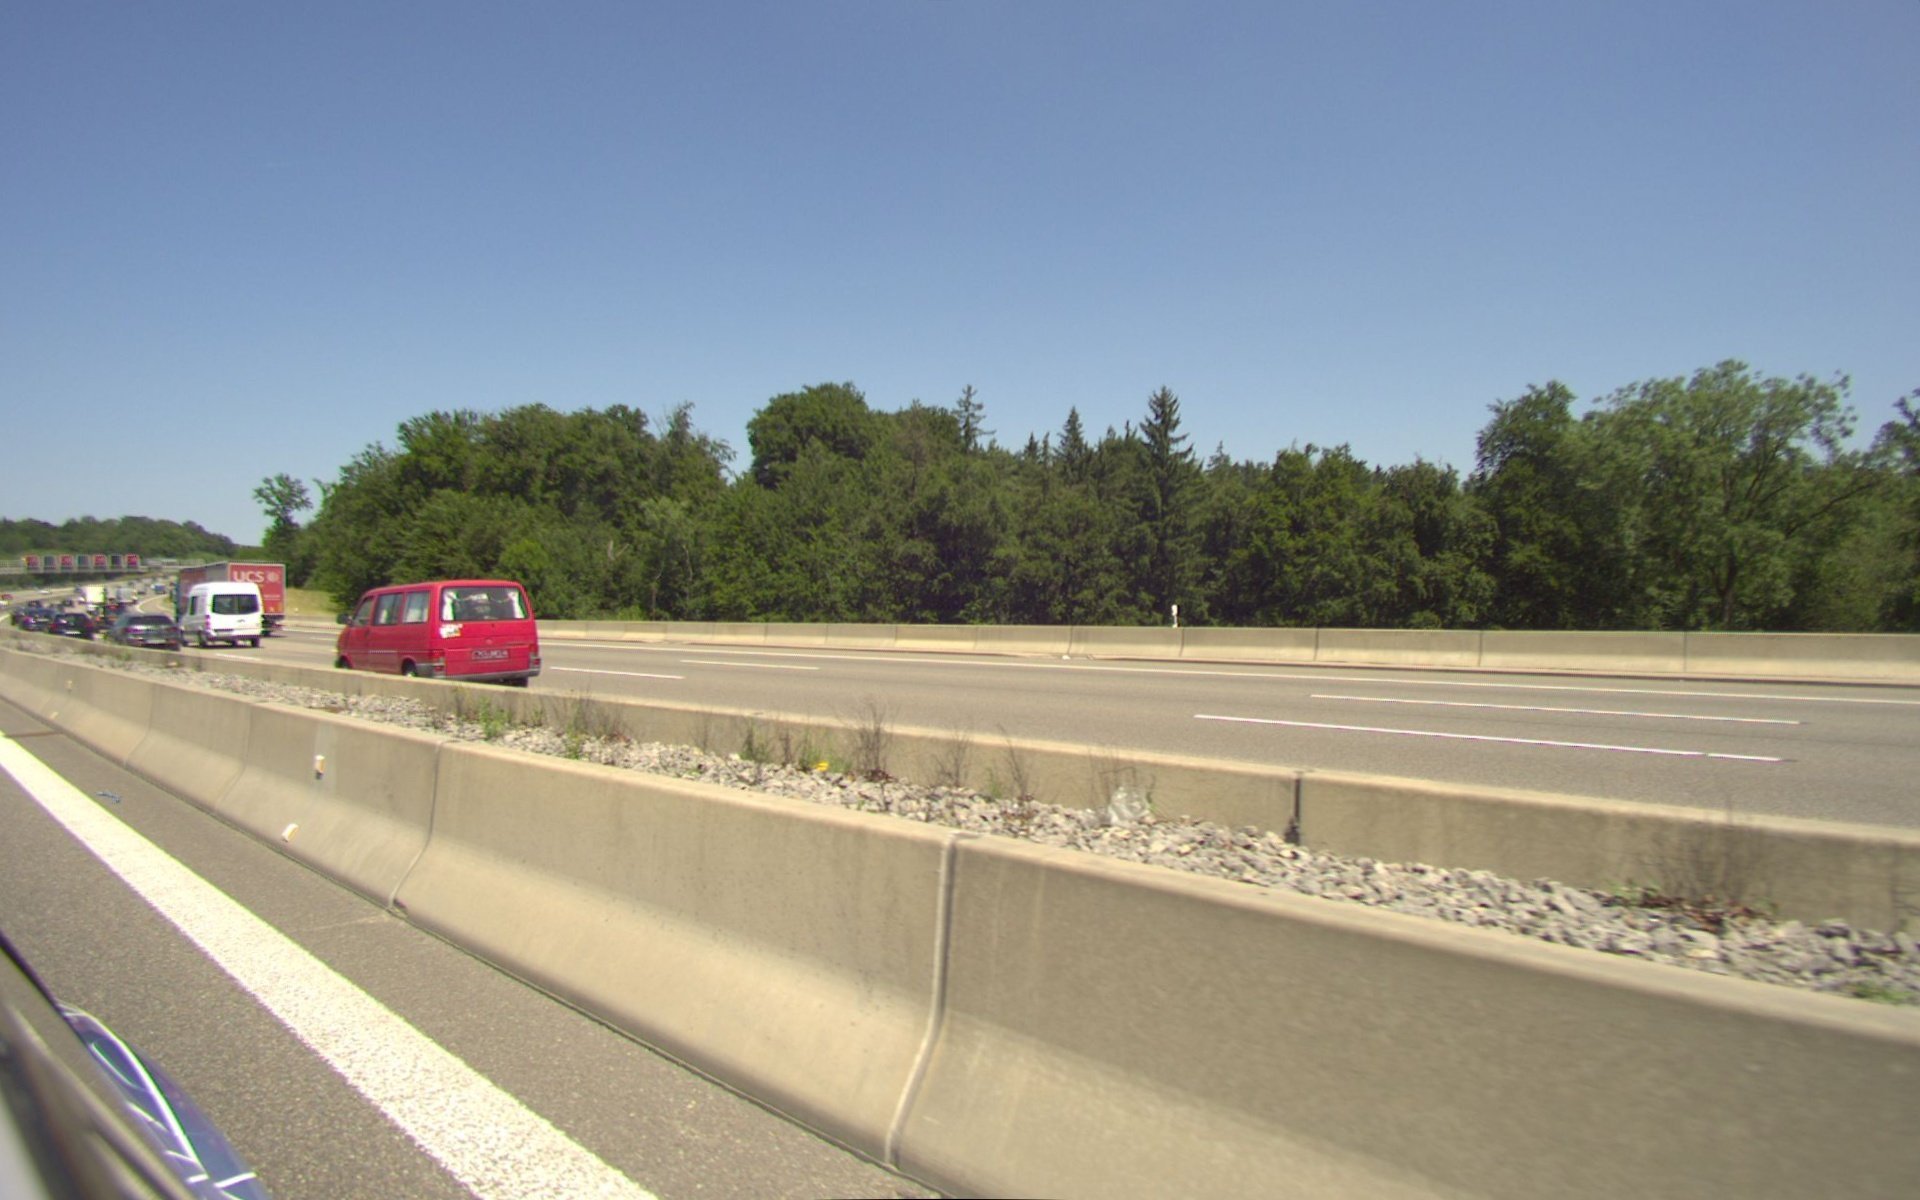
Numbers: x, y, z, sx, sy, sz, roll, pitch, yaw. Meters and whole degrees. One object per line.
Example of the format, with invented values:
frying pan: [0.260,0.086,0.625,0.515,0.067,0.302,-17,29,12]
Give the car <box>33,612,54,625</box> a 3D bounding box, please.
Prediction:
car: [-120.474,2.414,133.030,4.639,1.647,1.735,-2,-1,44]

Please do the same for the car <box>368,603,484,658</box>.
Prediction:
car: [-18.569,1.013,35.069,5.068,1.775,1.972,-1,0,42]

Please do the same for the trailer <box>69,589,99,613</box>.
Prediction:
trailer: [-162.944,0.224,188.234,13.962,4.294,2.832,0,0,44]

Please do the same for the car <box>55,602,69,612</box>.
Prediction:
car: [-161.942,1.272,182.497,1.741,1.531,4.365,-1,2,-44]

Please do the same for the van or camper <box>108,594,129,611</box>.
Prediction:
van or camper: [-166.167,0.417,199.801,2.731,3.148,8.105,-1,2,-42]

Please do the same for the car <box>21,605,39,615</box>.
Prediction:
car: [-148.991,1.569,162.085,1.970,1.680,4.438,0,0,-44]

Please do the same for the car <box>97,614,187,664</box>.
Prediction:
car: [-28.376,1.282,35.055,4.824,1.521,1.750,0,1,43]

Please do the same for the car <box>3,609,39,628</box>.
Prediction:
car: [-81.017,1.609,87.274,5.134,1.530,1.935,-1,0,44]

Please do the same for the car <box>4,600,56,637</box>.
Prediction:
car: [-56.621,1.096,61.600,4.000,2.028,1.972,2,2,42]

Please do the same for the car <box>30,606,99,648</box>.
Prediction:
car: [-43.204,1.245,48.789,5.196,1.736,1.972,2,2,43]

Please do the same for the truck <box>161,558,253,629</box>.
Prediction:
truck: [-47.423,-0.430,63.701,5.881,4.208,3.744,0,1,44]

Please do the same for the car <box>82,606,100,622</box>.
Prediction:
car: [-127.431,2.035,148.429,1.969,2.028,4.006,-1,2,-41]

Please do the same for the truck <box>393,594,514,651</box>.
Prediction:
truck: [-22.464,0.896,44.568,8.827,2.271,2.024,0,1,45]

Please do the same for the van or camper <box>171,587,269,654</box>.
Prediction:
van or camper: [-30.572,0.802,41.716,6.399,2.585,2.077,-1,0,42]

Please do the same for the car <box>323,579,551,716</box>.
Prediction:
car: [-8.916,0.674,17.087,4.639,1.997,1.886,0,1,42]

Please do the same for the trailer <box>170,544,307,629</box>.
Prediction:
trailer: [-41.643,-0.707,58.087,14.480,4.312,3.793,0,1,44]
